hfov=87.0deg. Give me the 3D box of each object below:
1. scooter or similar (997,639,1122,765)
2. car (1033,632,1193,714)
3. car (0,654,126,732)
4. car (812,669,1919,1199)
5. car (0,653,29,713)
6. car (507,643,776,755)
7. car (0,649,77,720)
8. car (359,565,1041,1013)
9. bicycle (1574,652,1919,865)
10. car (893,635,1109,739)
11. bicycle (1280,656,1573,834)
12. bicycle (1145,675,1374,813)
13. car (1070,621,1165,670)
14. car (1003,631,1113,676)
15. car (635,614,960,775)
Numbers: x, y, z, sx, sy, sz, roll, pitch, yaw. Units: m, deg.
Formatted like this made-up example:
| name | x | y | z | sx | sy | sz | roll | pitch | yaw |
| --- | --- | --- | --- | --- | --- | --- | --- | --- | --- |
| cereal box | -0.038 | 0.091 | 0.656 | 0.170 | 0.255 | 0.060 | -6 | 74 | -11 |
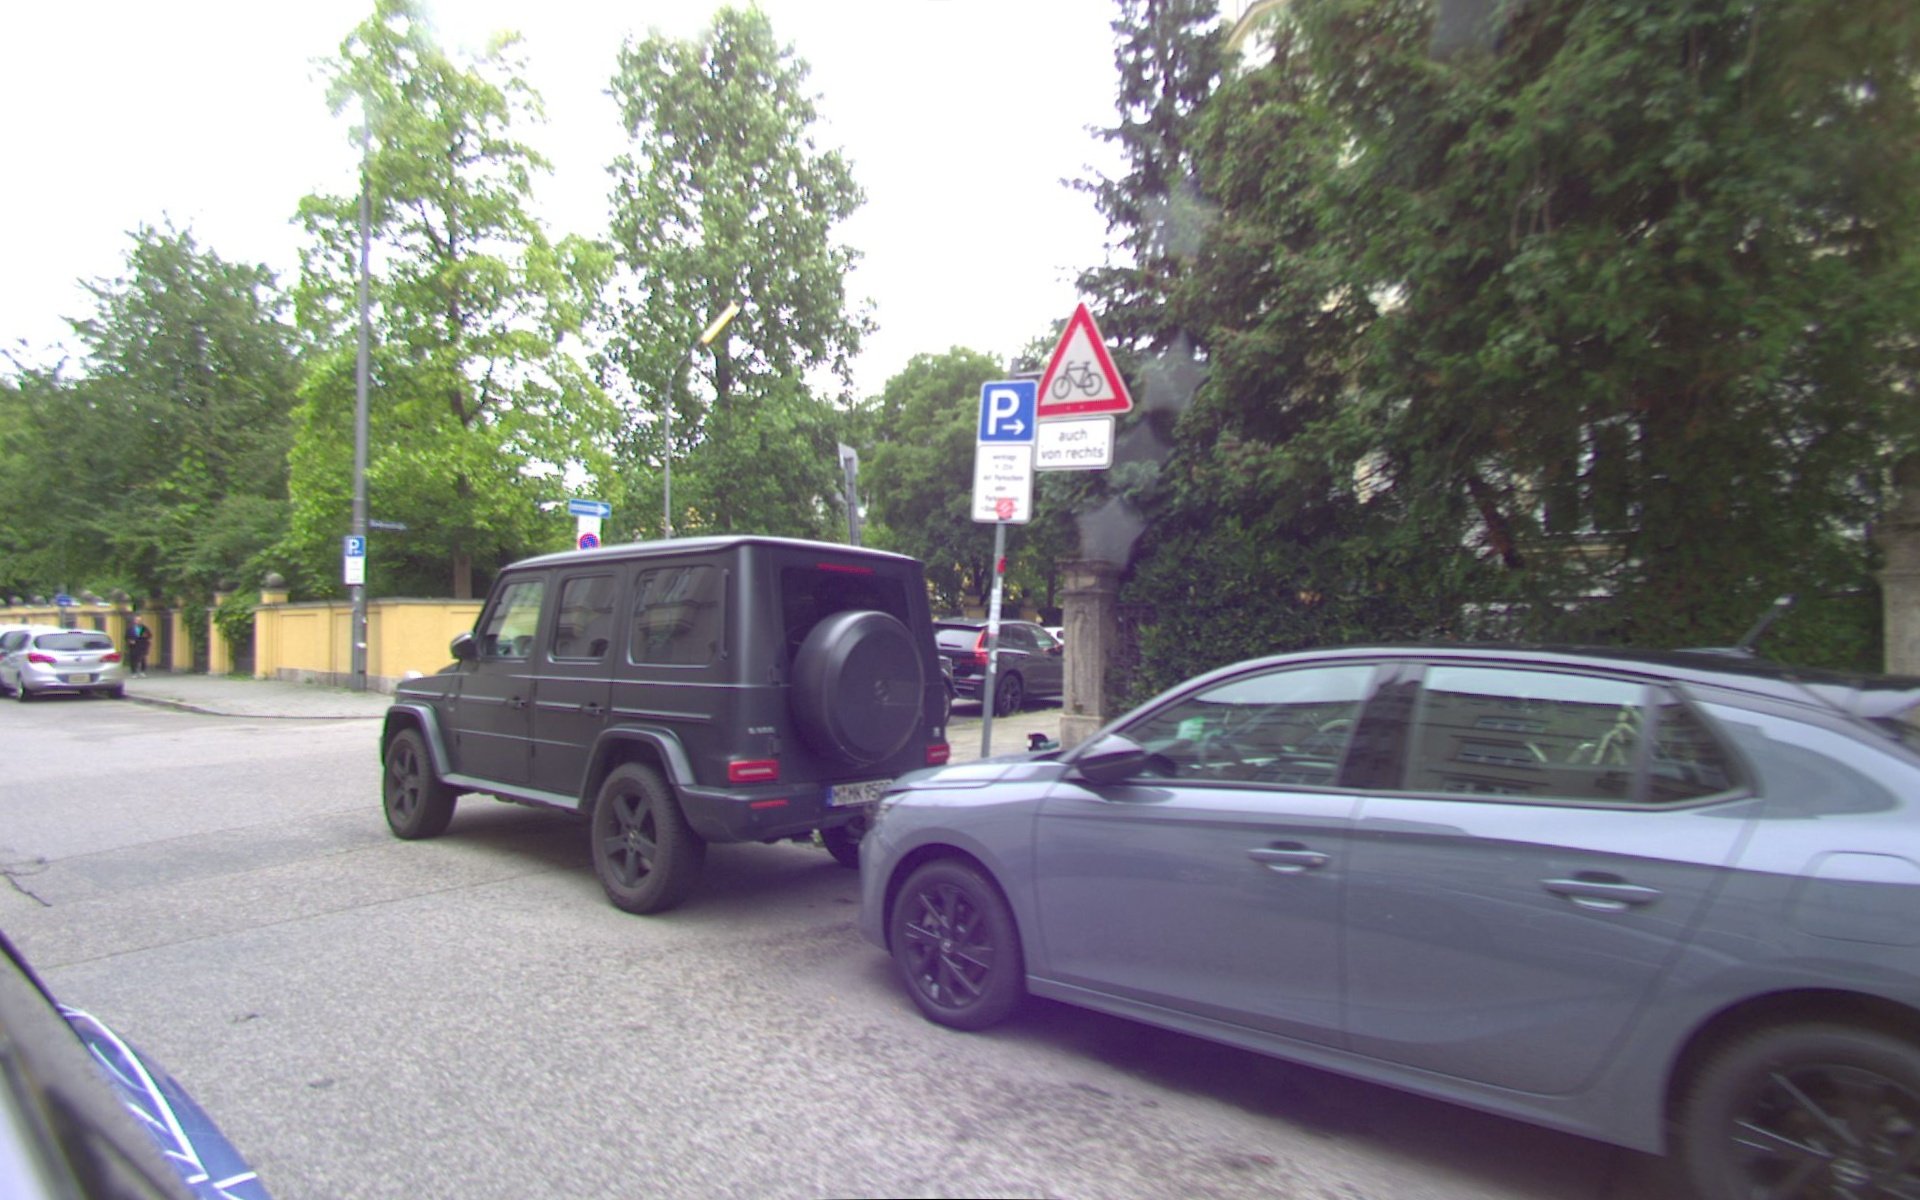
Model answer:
| name | x | y | z | sx | sy | sz | roll | pitch | yaw |
| --- | --- | --- | --- | --- | --- | --- | --- | --- | --- |
| scooter or similar | 1.053 | 1.024 | 10.534 | 0.460 | 1.188 | 1.411 | -5 | -4 | 45 |
| car | 3.598 | 1.578 | 23.080 | 1.929 | 1.577 | 4.383 | 2 | 0 | 33 |
| car | -19.522 | 1.921 | 21.760 | 3.951 | 1.504 | 1.683 | -2 | -4 | 39 |
| car | 1.443 | 1.007 | 3.422 | 3.916 | 1.441 | 1.626 | -2 | -5 | 40 |
| car | -27.245 | 2.269 | 27.973 | 3.926 | 1.573 | 1.633 | -2 | -4 | 39 |
| car | -5.756 | 1.716 | 18.899 | 1.900 | 1.757 | 4.686 | -2 | -2 | 33 |
| car | -23.239 | 2.029 | 24.868 | 3.926 | 1.573 | 1.683 | -2 | -2 | 39 |
| car | -1.971 | 0.878 | 6.620 | 4.813 | 1.901 | 1.892 | -1 | -3 | 41 |
| bicycle | 4.689 | 0.871 | 5.946 | 1.764 | 1.105 | 0.484 | -3 | -2 | 39 |
| car | 0.896 | 1.469 | 18.579 | 1.929 | 1.577 | 4.469 | 1 | -1 | 33 |
| bicycle | 3.245 | 0.961 | 7.158 | 1.786 | 1.105 | 0.484 | -3 | -2 | 39 |
| bicycle | 2.299 | 1.079 | 7.907 | 1.635 | 0.959 | 0.446 | -4 | -3 | 39 |
| car | 5.866 | 1.642 | 37.354 | 1.828 | 1.697 | 4.191 | -2 | -2 | 35 |
| car | 3.324 | 1.726 | 33.677 | 1.828 | 1.395 | 4.190 | -2 | -2 | 35 |
| car | -2.080 | 1.182 | 14.220 | 2.049 | 1.872 | 4.469 | -2 | -2 | 33 |
